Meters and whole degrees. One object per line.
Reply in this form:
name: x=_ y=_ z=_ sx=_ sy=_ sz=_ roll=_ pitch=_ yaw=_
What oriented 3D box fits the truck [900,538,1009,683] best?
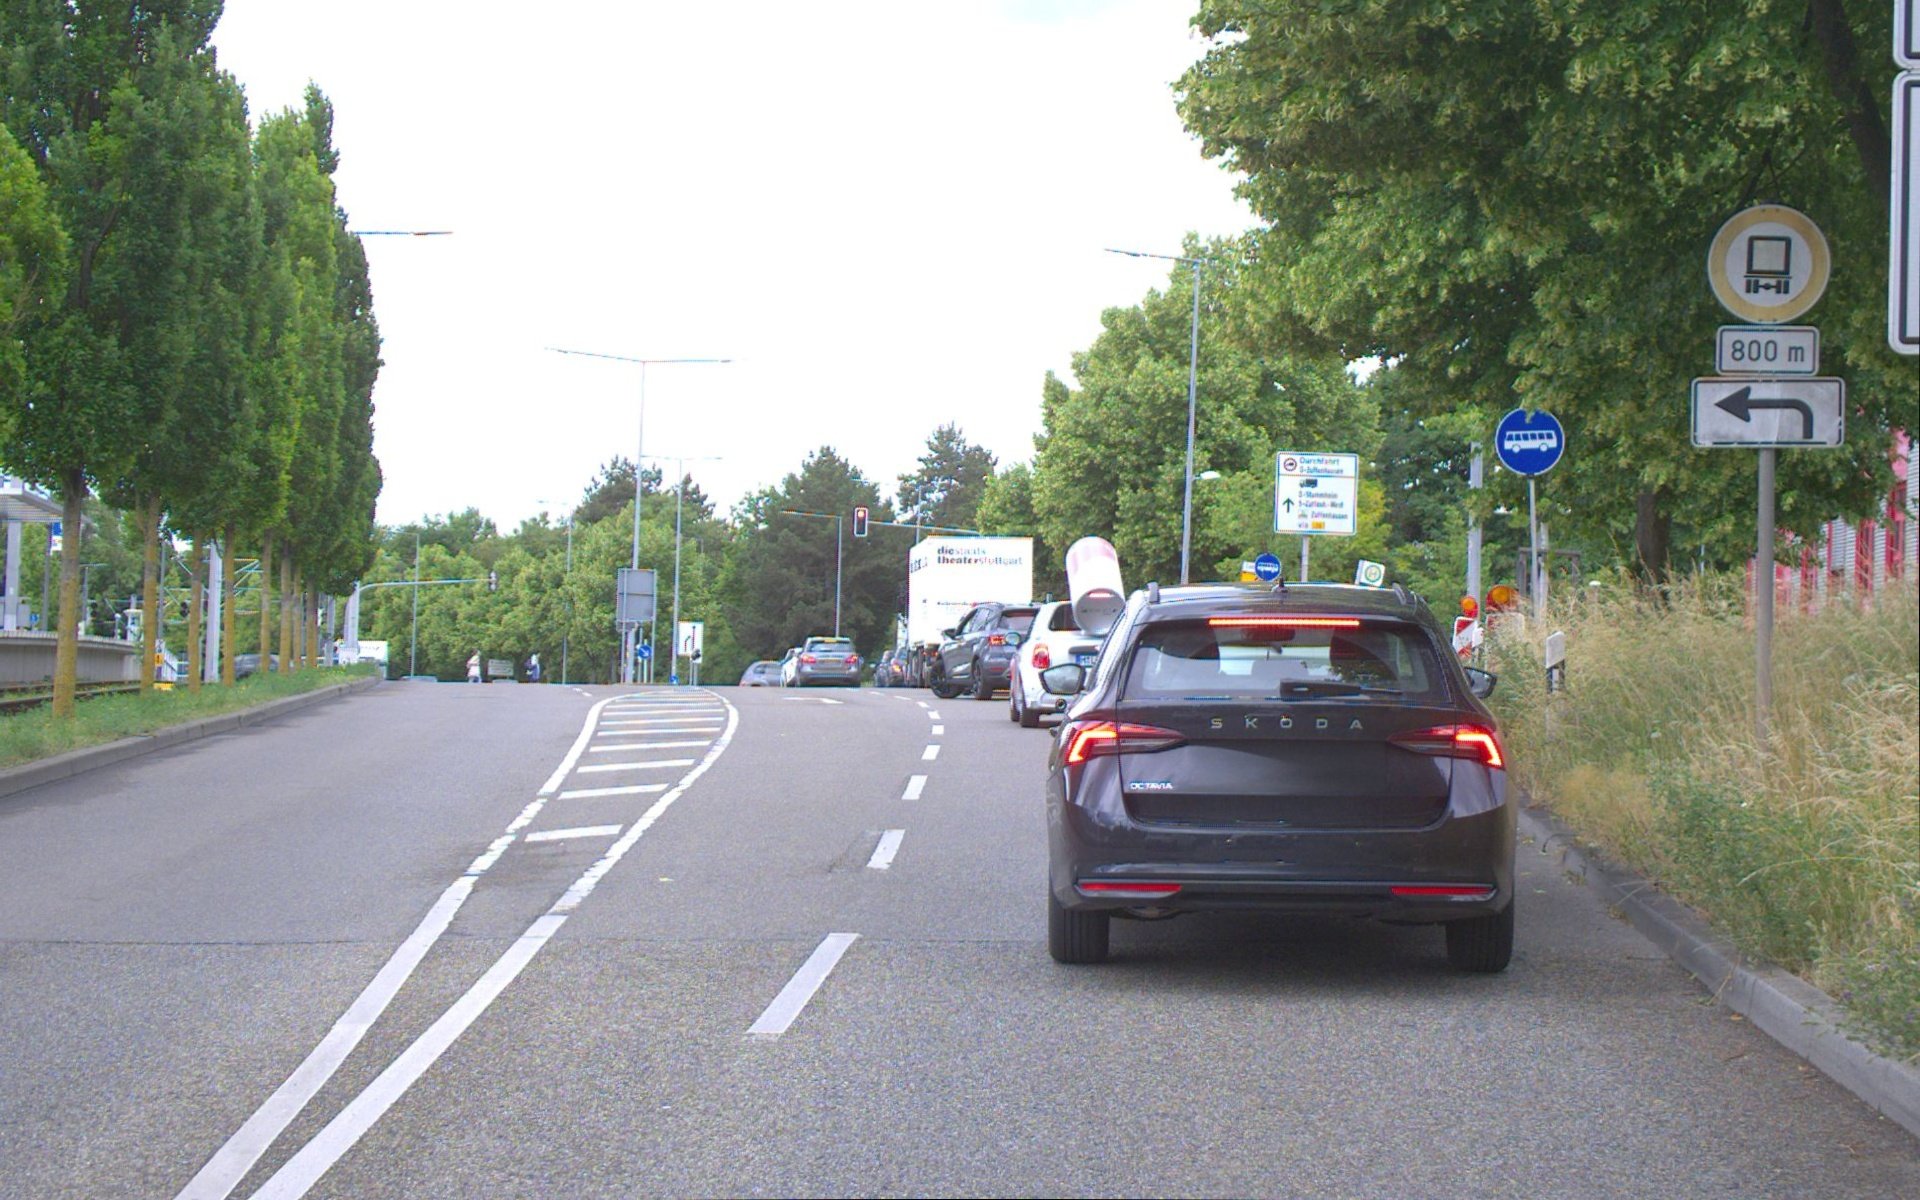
truck: x=-0.178 y=0.317 z=91.089 sx=2.570 sy=3.693 sz=4.106 roll=1 pitch=-2 yaw=-4

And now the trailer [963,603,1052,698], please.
trailer: x=0.799 y=0.876 z=59.587 sx=1.409 sy=1.588 sz=3.303 roll=1 pitch=-1 yaw=-1

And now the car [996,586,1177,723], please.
car: x=1.399 y=0.627 z=39.271 sx=1.718 sy=1.452 sz=3.696 roll=1 pitch=-1 yaw=-3

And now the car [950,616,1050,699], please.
car: x=0.702 y=1.071 z=63.486 sx=1.671 sy=1.443 sz=4.489 roll=1 pitch=-1 yaw=-1

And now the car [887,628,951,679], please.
car: x=-1.203 y=1.552 z=101.269 sx=1.812 sy=1.349 sz=4.118 roll=1 pitch=0 yaw=-1

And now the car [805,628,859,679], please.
car: x=-3.715 y=1.539 z=99.848 sx=1.525 sy=1.349 sz=3.491 roll=1 pitch=1 yaw=-2

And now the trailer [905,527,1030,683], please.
trailer: x=0.113 y=0.212 z=87.102 sx=2.565 sy=3.693 sz=7.764 roll=1 pitch=-2 yaw=-4

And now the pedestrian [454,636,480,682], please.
pedestrian: x=-17.034 y=2.042 z=118.792 sx=0.863 sy=1.555 sz=0.518 roll=1 pitch=1 yaw=-6

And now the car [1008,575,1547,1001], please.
car: x=1.278 y=0.642 z=14.145 sx=1.836 sy=1.428 sz=4.278 roll=2 pitch=0 yaw=5

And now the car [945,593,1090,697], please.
car: x=0.855 y=0.679 z=53.701 sx=1.698 sy=1.481 sz=4.001 roll=1 pitch=1 yaw=-7

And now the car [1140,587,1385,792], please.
car: x=2.308 y=0.648 z=26.974 sx=1.623 sy=1.452 sz=3.689 roll=1 pitch=0 yaw=1

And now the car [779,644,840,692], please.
car: x=-4.777 y=2.162 z=108.865 sx=1.721 sy=1.417 sz=4.356 roll=1 pitch=-2 yaw=-5

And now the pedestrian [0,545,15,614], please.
pedestrian: x=-25.844 y=-0.545 z=92.687 sx=0.572 sy=1.821 sz=0.793 roll=2 pitch=-2 yaw=-8

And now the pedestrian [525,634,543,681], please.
pedestrian: x=-14.880 y=2.000 z=120.072 sx=0.586 sy=1.616 sz=0.423 roll=1 pitch=1 yaw=-6
